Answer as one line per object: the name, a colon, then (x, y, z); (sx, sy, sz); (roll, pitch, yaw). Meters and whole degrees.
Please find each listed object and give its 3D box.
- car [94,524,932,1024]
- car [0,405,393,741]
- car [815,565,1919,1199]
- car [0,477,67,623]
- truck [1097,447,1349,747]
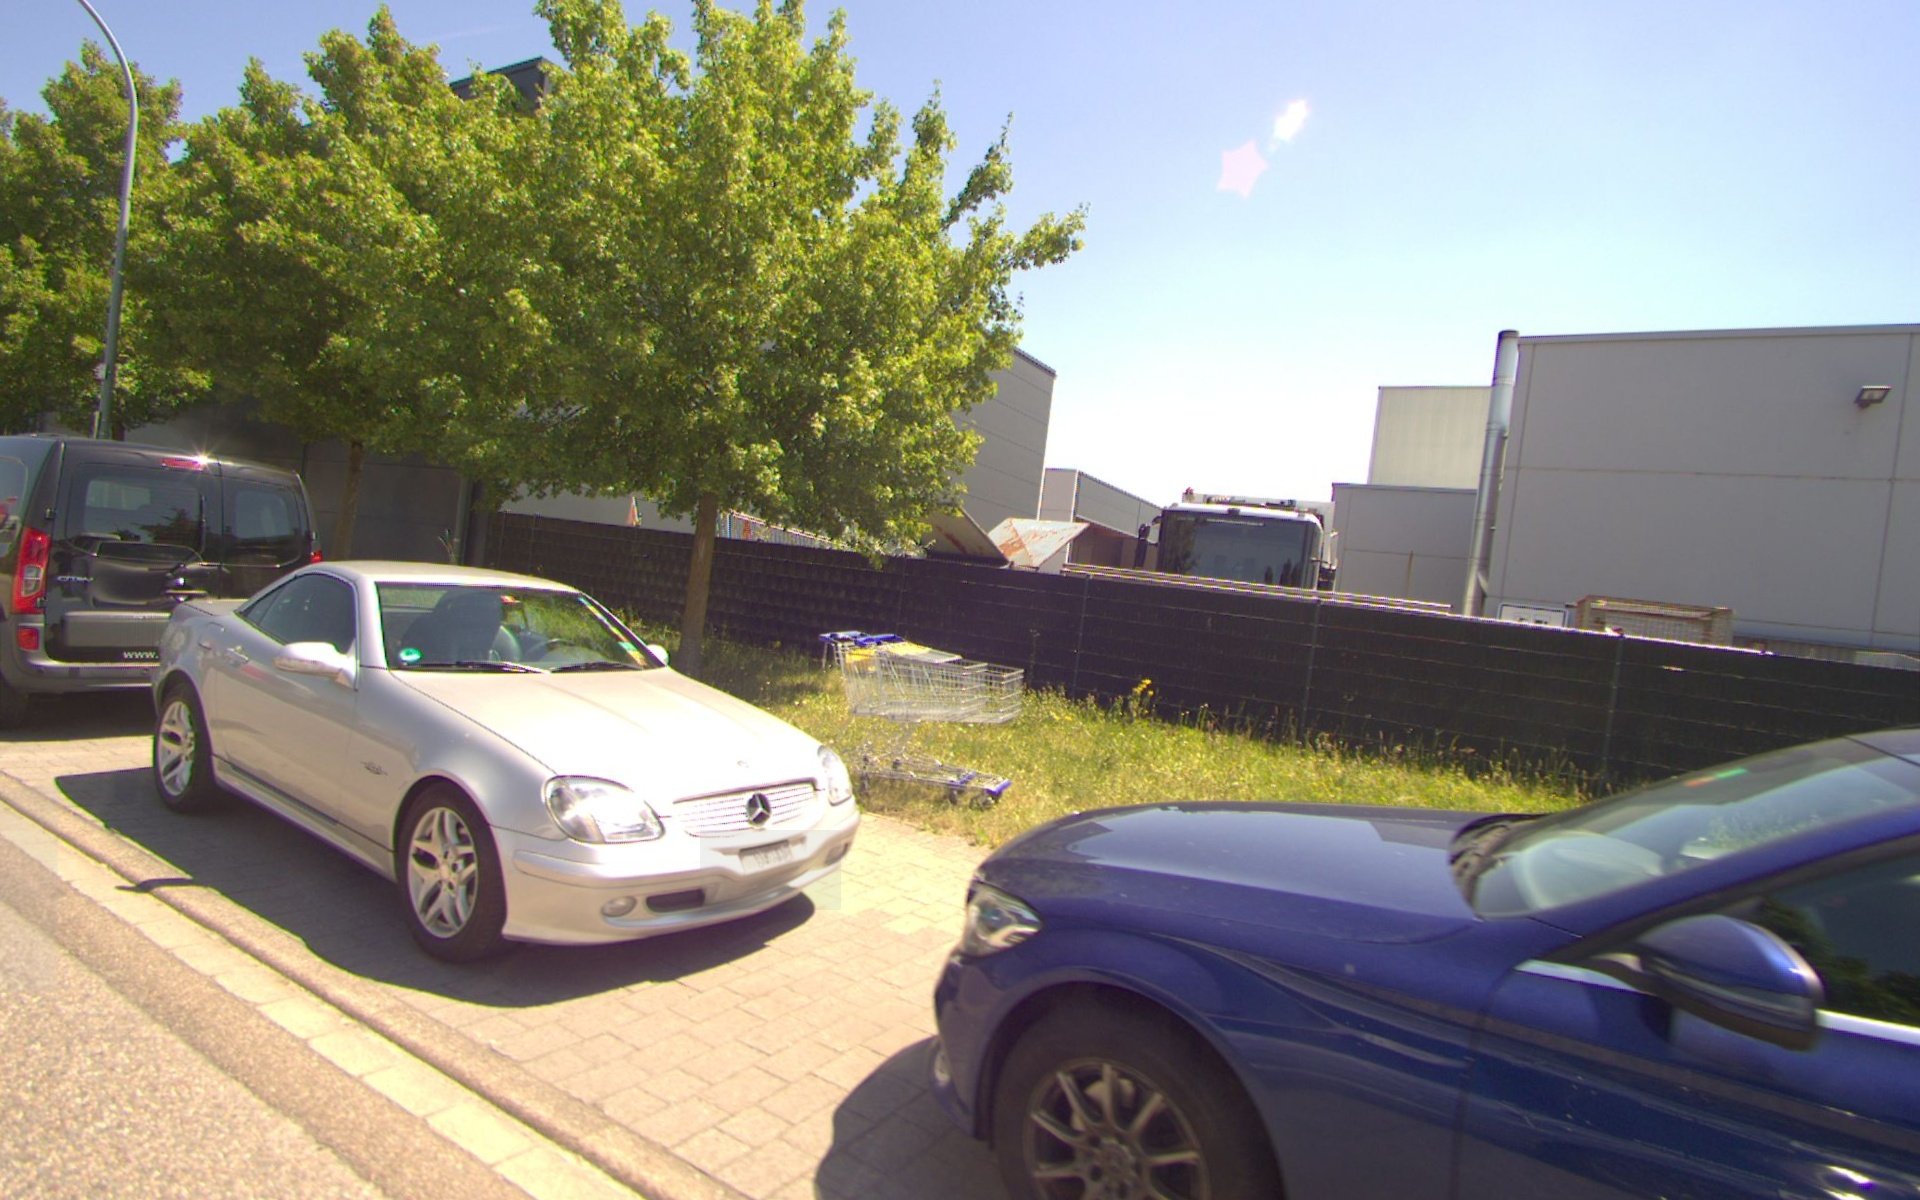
car: (-2.324, 0.492, 4.838); (4.049, 1.303, 1.712); (6, 0, 34)
car: (-6.467, -0.297, 7.467); (4.281, 1.848, 1.995); (7, 1, 32)
car: (2.024, 0.962, 2.096); (4.405, 1.513, 1.829); (8, 1, 34)
car: (-11.816, -0.768, 10.944); (4.635, 1.449, 1.852); (7, 0, 32)
truck: (5.390, 0.078, 18.658); (2.981, 3.870, 10.005); (7, 1, 21)
